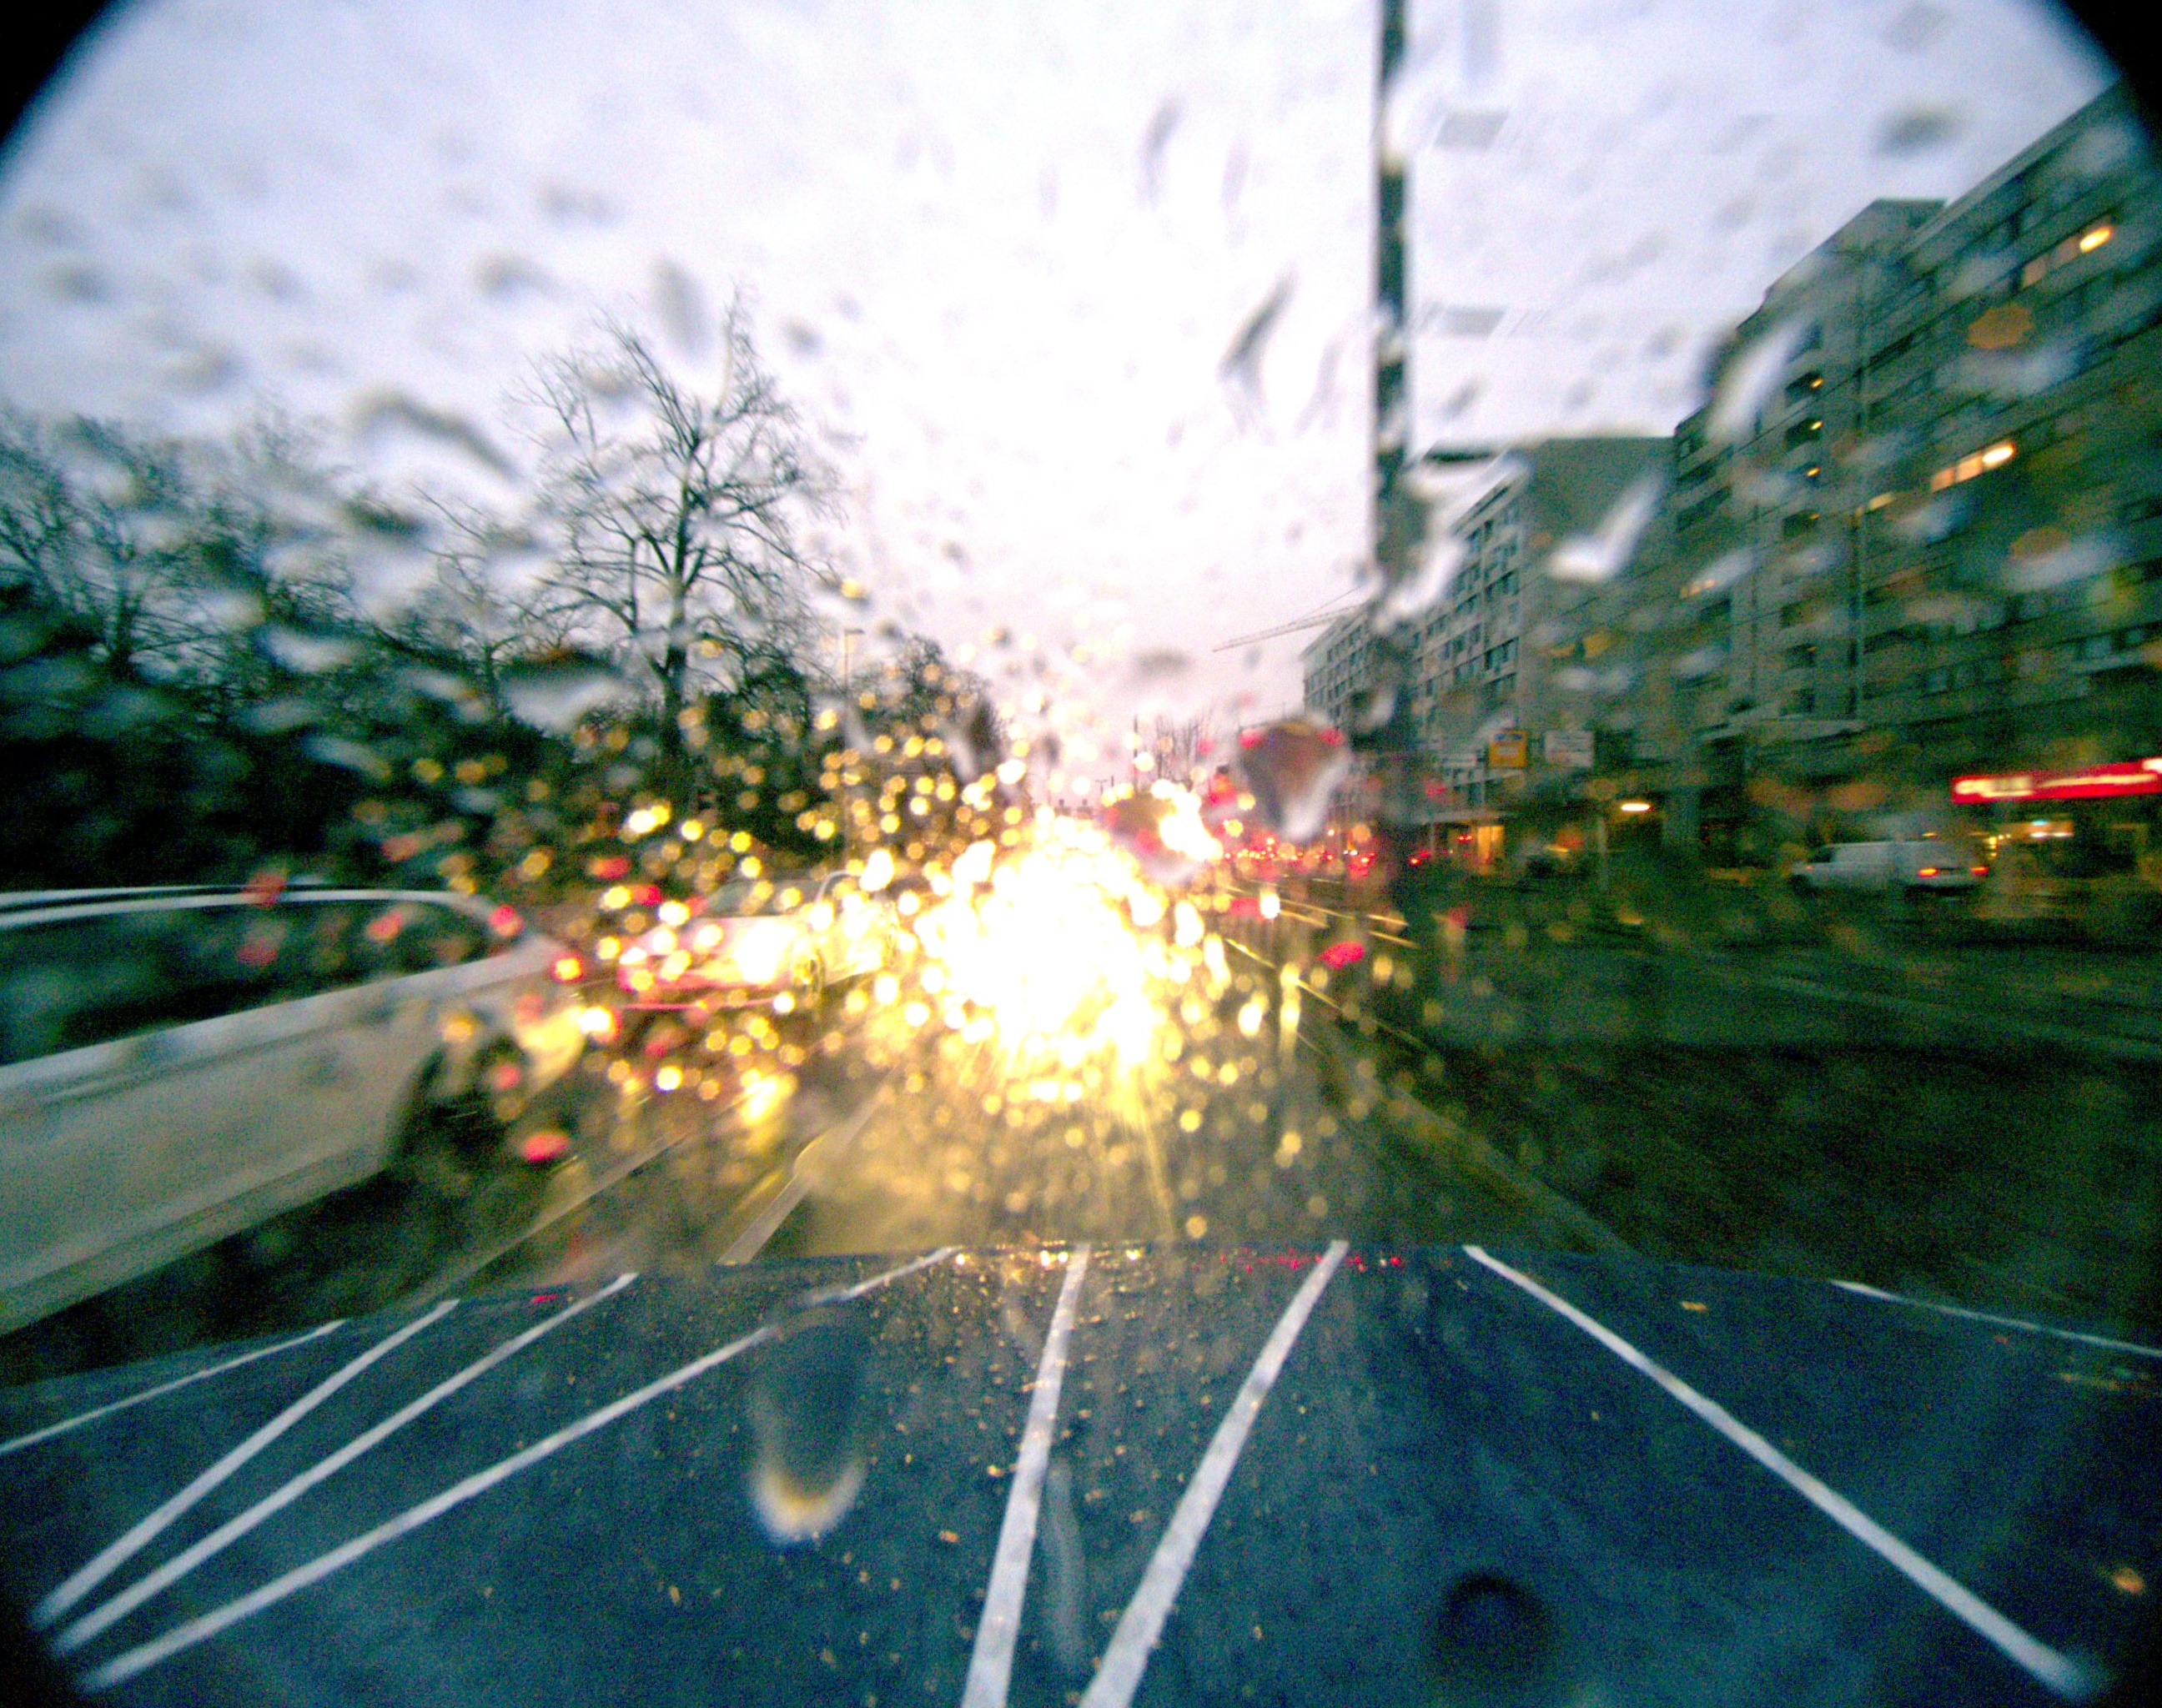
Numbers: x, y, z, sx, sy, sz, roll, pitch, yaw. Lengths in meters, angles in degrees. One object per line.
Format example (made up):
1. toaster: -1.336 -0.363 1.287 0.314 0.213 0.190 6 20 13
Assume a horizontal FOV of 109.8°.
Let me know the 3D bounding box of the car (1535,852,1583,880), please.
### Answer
1. car: 29.825 0.687 47.371 3.785 1.609 1.676 -2 1 -44

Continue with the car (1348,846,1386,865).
1. car: 24.144 0.114 64.235 1.754 1.503 3.889 -1 1 -1

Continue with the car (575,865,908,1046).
1. car: -3.505 0.944 8.804 1.778 1.453 4.041 -1 1 4

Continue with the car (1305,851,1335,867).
1. car: 24.191 0.471 76.907 1.754 1.440 3.872 -1 1 -1

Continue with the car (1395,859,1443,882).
1. car: 24.018 1.135 54.116 1.677 1.440 3.766 -1 1 -1

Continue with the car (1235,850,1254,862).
1. car: 21.250 0.206 98.783 1.596 1.440 3.872 -1 1 -1

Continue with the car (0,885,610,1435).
1. car: -4.046 0.964 2.288 1.791 1.492 4.969 -2 0 5

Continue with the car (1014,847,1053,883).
1. car: -2.406 0.530 39.051 1.679 1.739 3.864 -1 1 1

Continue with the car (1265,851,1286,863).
1. car: 24.409 0.361 95.370 1.596 1.440 3.872 -1 1 -1

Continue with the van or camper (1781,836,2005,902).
1. van or camper: 28.630 0.469 27.181 1.998 2.085 5.654 -1 0 1

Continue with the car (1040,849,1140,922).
1. car: 0.213 0.683 18.614 2.160 1.490 4.006 -1 1 1

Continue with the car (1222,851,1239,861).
1. car: 21.000 0.268 106.771 1.596 1.440 3.872 -1 1 -1

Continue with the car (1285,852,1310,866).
1. car: 24.258 0.547 85.238 1.754 1.440 3.872 -1 1 -1

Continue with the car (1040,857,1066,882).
1. car: -1.981 1.119 55.266 1.679 1.670 3.864 -1 1 1

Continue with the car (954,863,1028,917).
1. car: -2.880 1.121 25.070 1.880 1.490 4.076 -1 1 1
